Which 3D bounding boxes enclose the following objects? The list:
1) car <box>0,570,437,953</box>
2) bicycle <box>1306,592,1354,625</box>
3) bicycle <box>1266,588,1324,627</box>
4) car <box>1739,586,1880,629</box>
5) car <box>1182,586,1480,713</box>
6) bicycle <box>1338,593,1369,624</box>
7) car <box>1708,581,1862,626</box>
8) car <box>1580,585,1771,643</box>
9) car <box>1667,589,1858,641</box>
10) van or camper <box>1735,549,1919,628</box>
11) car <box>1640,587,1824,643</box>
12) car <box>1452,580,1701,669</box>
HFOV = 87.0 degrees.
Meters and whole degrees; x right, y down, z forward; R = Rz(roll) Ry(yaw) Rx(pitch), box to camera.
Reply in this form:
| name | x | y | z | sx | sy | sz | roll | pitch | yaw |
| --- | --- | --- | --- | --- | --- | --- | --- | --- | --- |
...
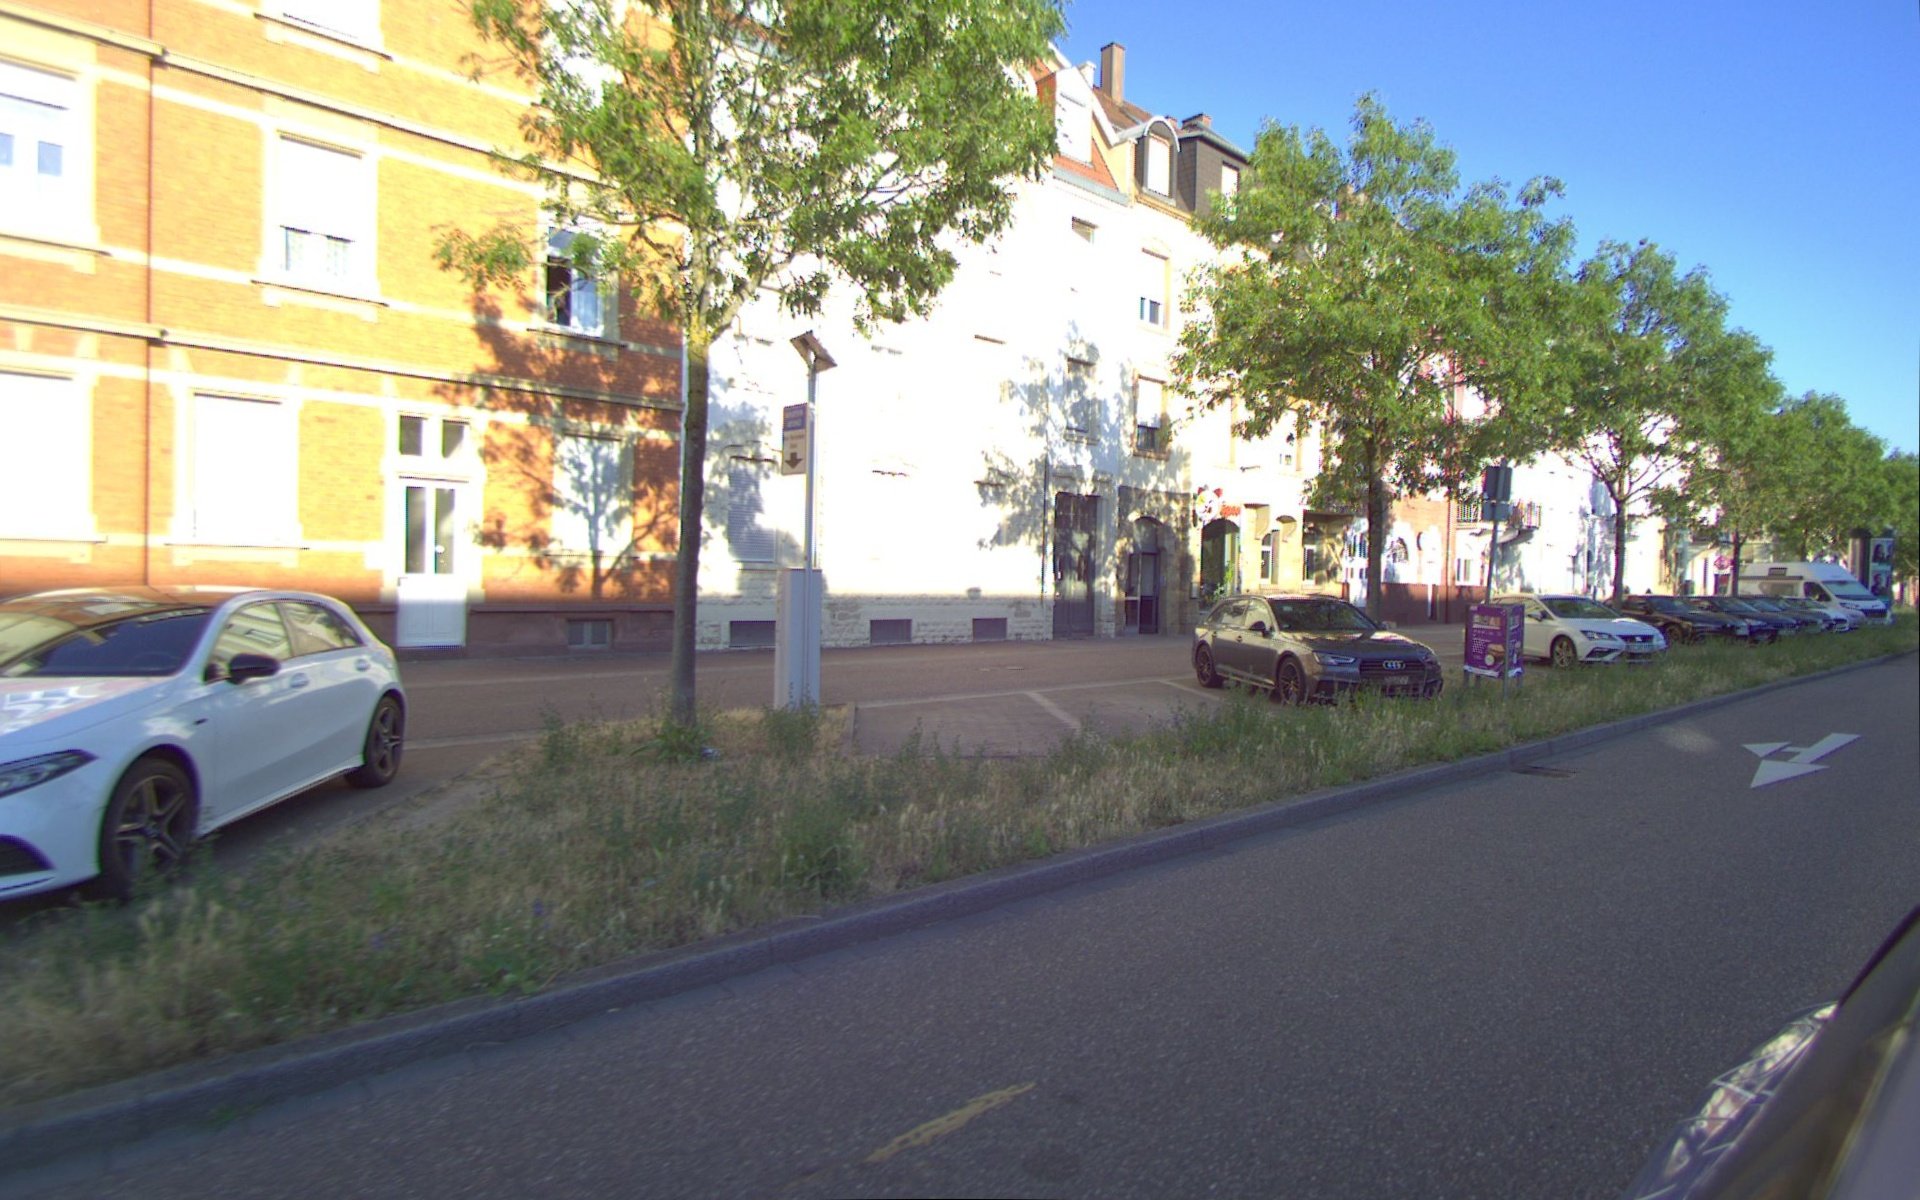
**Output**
| name | x | y | z | sx | sy | sz | roll | pitch | yaw |
| --- | --- | --- | --- | --- | --- | --- | --- | --- | --- |
| car | -4.868 | 0.542 | 5.868 | 1.989 | 1.417 | 4.564 | 0 | 2 | -10 |
| bicycle | 11.633 | 0.254 | 31.770 | 1.894 | 1.003 | 0.580 | 0 | 2 | -41 |
| bicycle | 10.069 | 0.211 | 30.379 | 2.189 | 1.092 | 0.589 | 0 | 3 | -41 |
| car | 31.348 | 0.234 | 37.518 | 1.761 | 1.420 | 3.926 | 1 | 1 | -2 |
| car | 4.769 | 0.546 | 13.878 | 1.857 | 1.365 | 4.591 | 1 | 2 | -8 |
| bicycle | 12.880 | 0.266 | 33.103 | 1.197 | 0.973 | 0.419 | 0 | 1 | -41 |
| car | 29.046 | 0.081 | 35.826 | 1.760 | 1.420 | 4.280 | 1 | 1 | -3 |
| car | 19.537 | 0.334 | 27.909 | 1.848 | 1.434 | 4.440 | 1 | 1 | -5 |
| car | 24.326 | 0.400 | 30.909 | 1.883 | 1.441 | 4.443 | 1 | 1 | -9 |
| van or camper | 33.825 | -0.498 | 39.506 | 2.159 | 2.847 | 5.662 | 1 | 1 | -9 |
| car | 22.008 | 0.366 | 29.066 | 1.691 | 1.455 | 4.061 | 0 | 1 | -12 |
| car | 12.113 | 0.397 | 20.344 | 1.810 | 1.528 | 4.652 | 1 | 1 | -5 |
